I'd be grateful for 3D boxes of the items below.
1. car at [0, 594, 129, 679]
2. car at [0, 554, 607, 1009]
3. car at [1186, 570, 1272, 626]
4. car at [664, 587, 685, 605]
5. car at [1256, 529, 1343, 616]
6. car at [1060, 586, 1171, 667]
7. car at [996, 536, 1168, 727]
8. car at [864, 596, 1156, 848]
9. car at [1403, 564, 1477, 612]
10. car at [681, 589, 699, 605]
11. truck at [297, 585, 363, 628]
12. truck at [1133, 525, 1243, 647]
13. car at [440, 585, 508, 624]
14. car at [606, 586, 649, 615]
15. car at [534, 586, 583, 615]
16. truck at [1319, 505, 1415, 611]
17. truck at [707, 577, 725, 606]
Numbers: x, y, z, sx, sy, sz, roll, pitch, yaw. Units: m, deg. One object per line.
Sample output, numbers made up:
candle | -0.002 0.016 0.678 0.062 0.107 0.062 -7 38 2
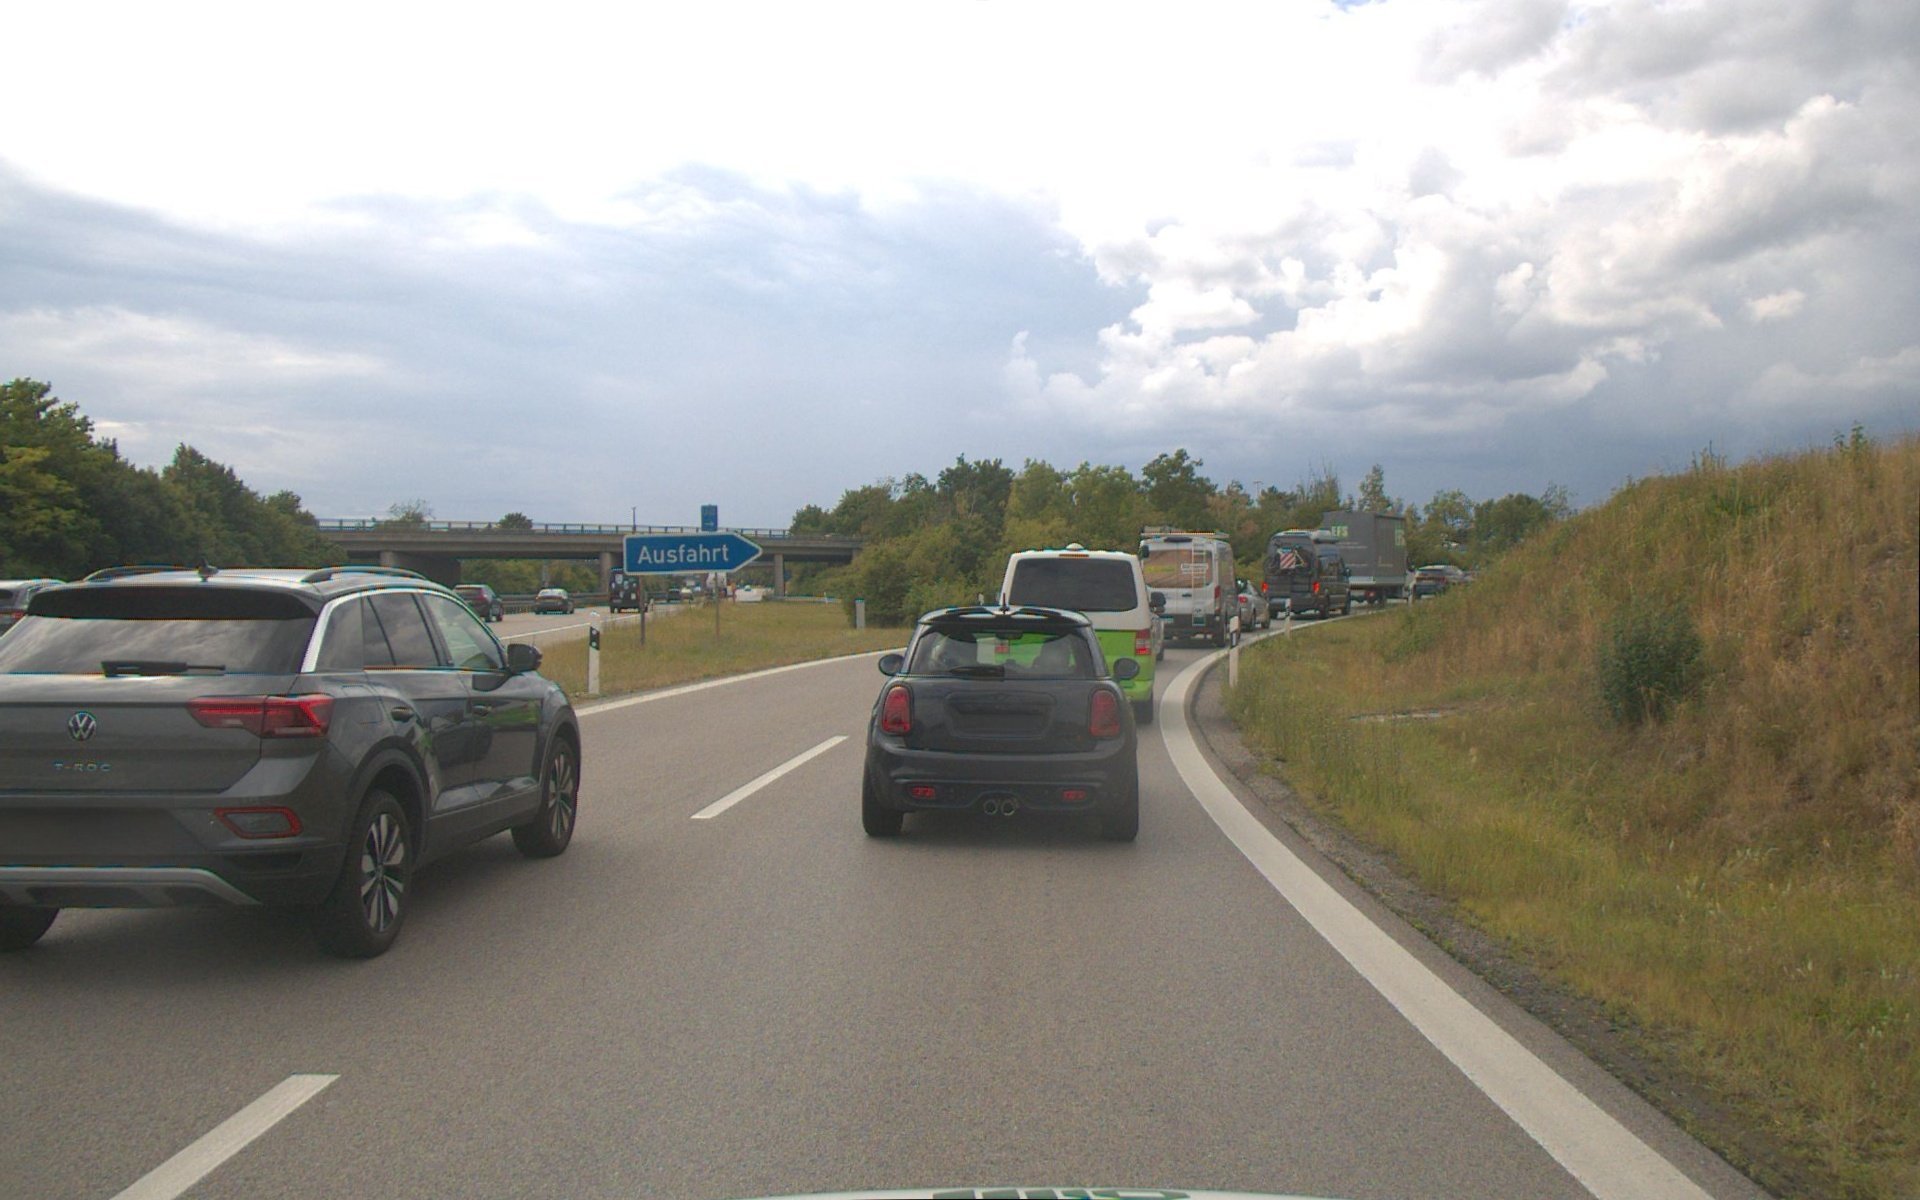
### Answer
car | -16.829 0.608 30.088 1.746 1.423 4.299 0 0 -8
car | -3.053 0.641 7.786 1.758 1.583 3.962 0 0 3
car | 7.775 -0.059 47.604 1.827 1.536 4.002 0 0 19
car | -33.102 -0.451 191.826 1.954 2.002 3.997 1 0 -4
car | 11.570 -0.929 56.222 2.062 2.845 3.998 1 1 24
car | 2.971 0.455 31.086 1.724 1.423 3.728 0 0 11
car | 1.570 0.319 19.981 1.746 2.049 4.003 0 0 9
car | 0.354 0.705 11.499 1.691 1.438 3.726 0 0 2
car | 21.384 -0.516 73.626 1.960 2.049 3.985 1 0 36
car | -35.462 -0.382 217.327 1.954 2.002 3.997 1 0 -4
truck | -31.378 0.305 82.523 1.955 2.049 4.712 -1 0 -7
truck | 5.521 -0.360 39.518 2.132 2.705 5.113 0 1 13
car | -21.864 0.195 74.535 2.054 1.700 4.302 0 0 -4
car | -20.435 0.002 101.939 2.054 1.700 4.302 0 0 -4
car | -24.085 0.030 99.373 2.117 1.700 4.302 0 0 -4
truck | 16.283 -1.587 65.899 2.187 3.975 6.005 1 0 29
truck | -30.933 -1.032 209.797 2.104 3.569 3.995 1 0 -6
